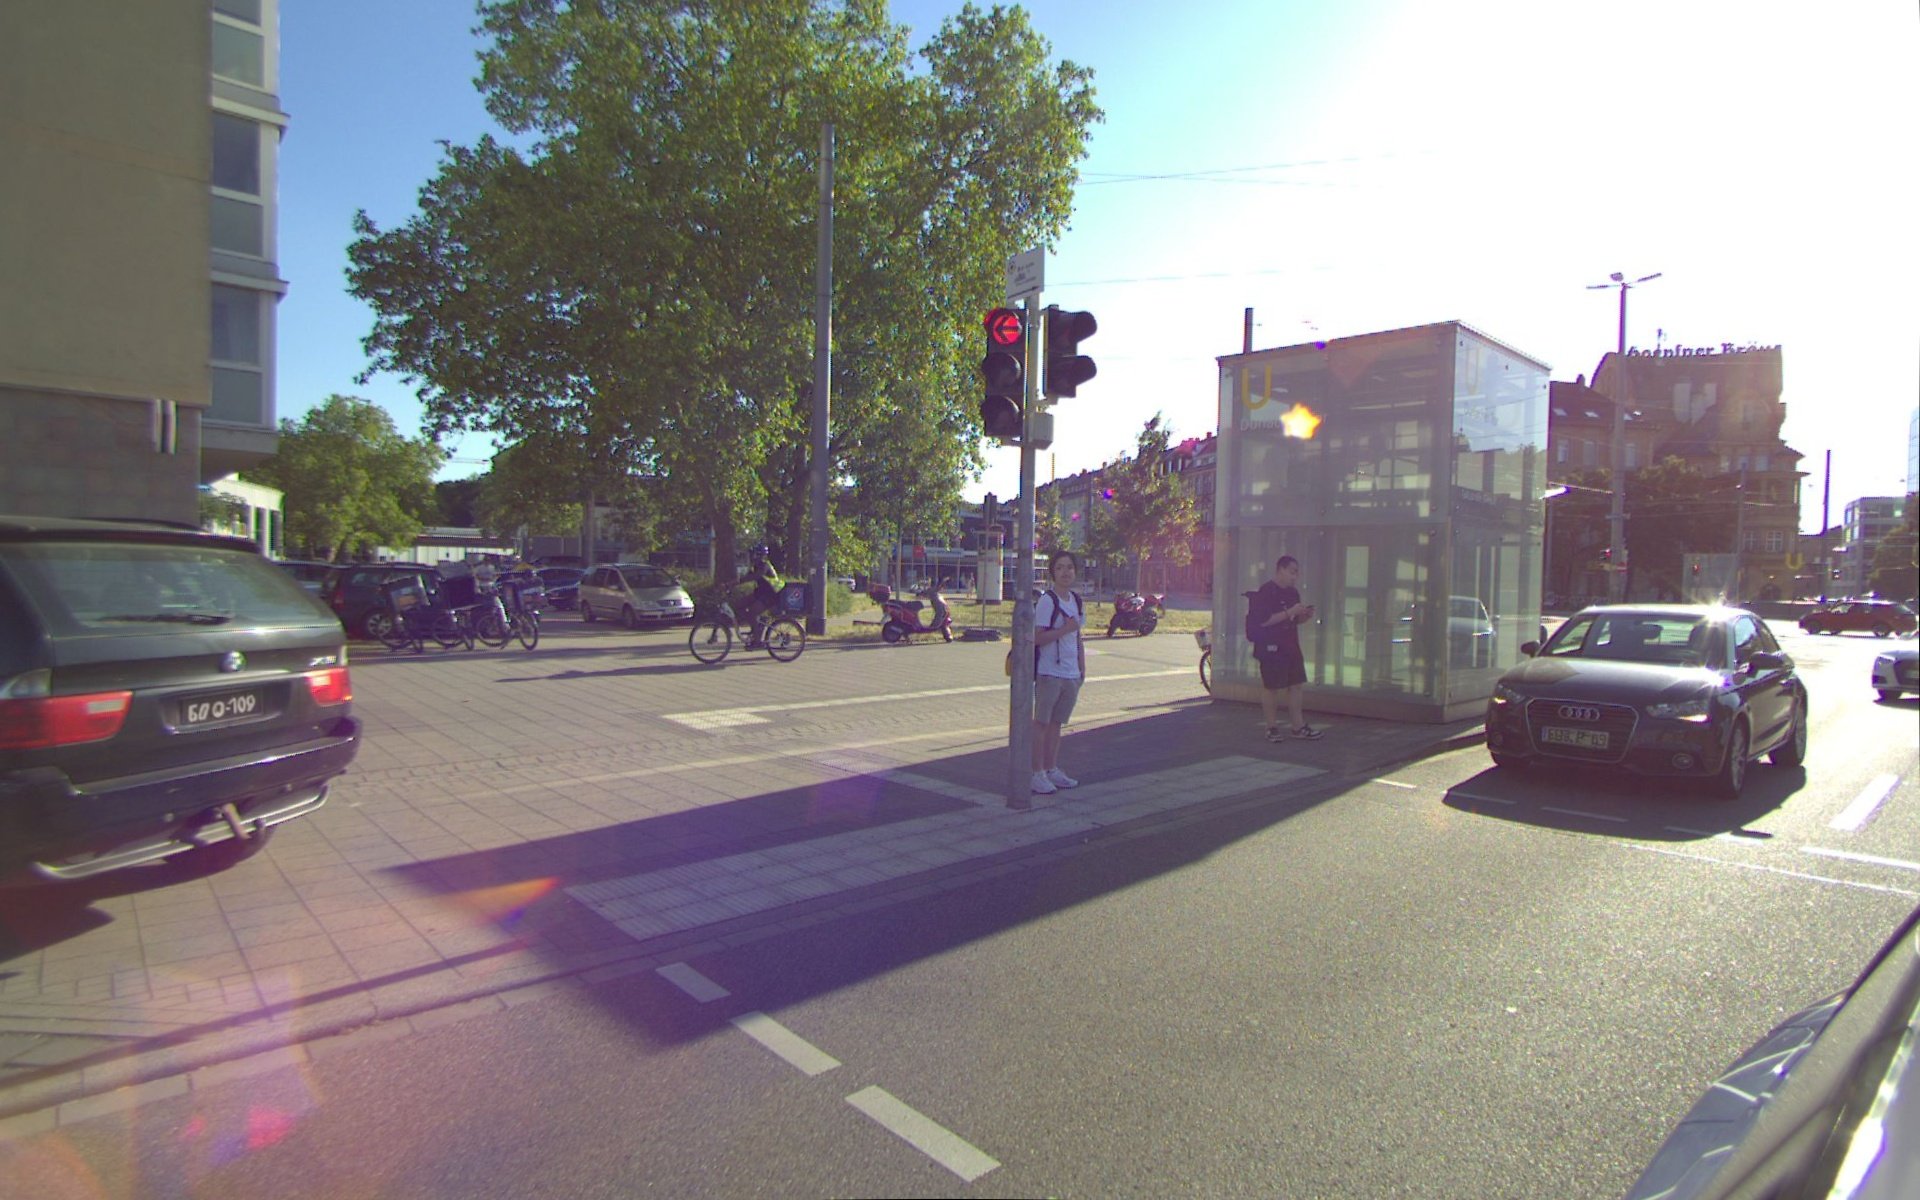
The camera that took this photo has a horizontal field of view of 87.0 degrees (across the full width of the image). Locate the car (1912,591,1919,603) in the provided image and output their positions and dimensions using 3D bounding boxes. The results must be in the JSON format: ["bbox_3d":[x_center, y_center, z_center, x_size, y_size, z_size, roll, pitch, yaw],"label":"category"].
[{"bbox_3d":[127.758,-0.421,134.029,1.745,1.482,3.968,2,0,35],"label":"car"}]

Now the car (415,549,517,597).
[{"bbox_3d":[-23.730,-1.293,48.667,3.933,2.024,1.853,3,1,-44],"label":"car"}]

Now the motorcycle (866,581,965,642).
[{"bbox_3d":[-0.852,0.191,19.625,1.775,1.059,0.879,-2,4,-45],"label":"motorcycle"}]

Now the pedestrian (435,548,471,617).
[{"bbox_3d":[-13.998,-0.488,27.936,0.739,1.889,0.831,0,2,-38],"label":"pedestrian"}]

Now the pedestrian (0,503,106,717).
[{"bbox_3d":[-8.702,0.069,9.465,0.743,1.889,0.827,2,1,18],"label":"pedestrian"}]

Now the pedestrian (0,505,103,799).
[{"bbox_3d":[-6.472,0.316,6.862,0.740,1.889,0.697,1,1,6],"label":"pedestrian"}]

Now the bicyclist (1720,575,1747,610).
[{"bbox_3d":[39.701,-0.398,51.963,0.971,1.716,0.756,4,2,42],"label":"bicyclist"}]

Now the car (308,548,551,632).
[{"bbox_3d":[-11.150,-0.183,21.452,1.852,1.501,4.158,4,1,45],"label":"car"}]

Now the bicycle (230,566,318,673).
[{"bbox_3d":[-9.224,0.218,13.577,0.649,1.263,1.896,-1,4,-45],"label":"bicycle"}]

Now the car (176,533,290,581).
[{"bbox_3d":[-32.633,-1.920,45.481,3.930,1.802,1.854,3,1,-42],"label":"car"}]

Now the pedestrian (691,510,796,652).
[{"bbox_3d":[-3.329,-0.284,15.508,1.244,2.038,1.036,4,0,-25],"label":"pedestrian"}]

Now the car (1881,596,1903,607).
[{"bbox_3d":[139.137,0.227,151.106,1.745,1.626,3.968,2,0,35],"label":"car"}]

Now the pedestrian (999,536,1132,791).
[{"bbox_3d":[0.783,0.421,7.439,0.693,1.749,0.745,2,1,32],"label":"pedestrian"}]

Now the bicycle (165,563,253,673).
[{"bbox_3d":[-9.742,0.192,13.101,0.649,1.263,1.896,-1,4,-45],"label":"bicycle"}]

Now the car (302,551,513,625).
[{"bbox_3d":[-12.779,-0.265,23.519,3.930,1.437,1.854,3,1,-42],"label":"car"}]

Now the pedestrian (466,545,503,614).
[{"bbox_3d":[-13.366,-0.588,28.435,0.739,1.889,0.831,0,2,-38],"label":"pedestrian"}]

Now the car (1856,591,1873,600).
[{"bbox_3d":[155.357,-0.755,173.834,1.745,1.482,3.968,2,0,35],"label":"car"}]

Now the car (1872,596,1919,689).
[{"bbox_3d":[16.644,0.693,16.008,4.365,1.406,1.829,1,-1,-26],"label":"car"}]

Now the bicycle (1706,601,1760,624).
[{"bbox_3d":[39.679,0.636,51.958,2.098,1.040,0.756,4,2,42],"label":"bicycle"}]

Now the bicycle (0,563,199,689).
[{"bbox_3d":[-9.485,0.247,10.999,0.658,1.263,1.870,4,4,44],"label":"bicycle"}]

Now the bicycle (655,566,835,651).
[{"bbox_3d":[-3.302,0.133,15.550,2.478,1.137,1.036,4,1,-25],"label":"bicycle"}]

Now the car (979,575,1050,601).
[{"bbox_3d":[3.494,-0.764,64.830,4.079,1.353,1.758,4,1,-21],"label":"car"}]

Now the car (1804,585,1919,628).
[{"bbox_3d":[38.415,0.219,42.636,1.720,1.481,4.029,-3,4,-21],"label":"car"}]

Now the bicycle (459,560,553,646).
[{"bbox_3d":[-7.984,0.023,17.763,1.992,1.361,0.803,4,4,43],"label":"bicycle"}]

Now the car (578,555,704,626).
[{"bbox_3d":[-8.960,-0.342,28.266,1.889,1.718,3.995,-3,5,-41],"label":"car"}]

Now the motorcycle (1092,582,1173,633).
[{"bbox_3d":[4.085,0.143,23.785,1.033,1.087,2.255,4,3,33],"label":"motorcycle"}]

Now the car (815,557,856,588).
[{"bbox_3d":[-9.030,-2.018,73.191,1.958,2.038,4.009,4,1,-21],"label":"car"}]

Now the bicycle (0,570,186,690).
[{"bbox_3d":[-10.051,0.302,11.551,0.658,1.263,1.870,4,4,44],"label":"bicycle"}]

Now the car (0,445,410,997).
[{"bbox_3d":[-5.071,0.373,4.607,4.178,1.837,1.957,0,1,7],"label":"car"}]

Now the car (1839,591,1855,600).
[{"bbox_3d":[164.315,-0.779,187.398,1.745,1.482,3.968,2,0,35],"label":"car"}]

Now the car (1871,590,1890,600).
[{"bbox_3d":[145.803,-0.839,160.302,1.745,1.482,3.968,2,0,35],"label":"car"}]

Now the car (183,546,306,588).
[{"bbox_3d":[-29.542,-1.346,41.846,3.930,1.437,1.854,3,1,-42],"label":"car"}]

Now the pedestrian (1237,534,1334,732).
[{"bbox_3d":[3.038,0.272,9.502,0.784,1.749,0.865,2,1,16],"label":"pedestrian"}]

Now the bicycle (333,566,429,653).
[{"bbox_3d":[-9.478,0.122,16.527,1.992,1.263,0.803,4,4,43],"label":"bicycle"}]

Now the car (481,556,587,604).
[{"bbox_3d":[-19.199,-0.872,45.647,3.933,1.891,1.853,3,1,-44],"label":"car"}]

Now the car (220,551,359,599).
[{"bbox_3d":[-24.193,-0.903,36.560,3.930,1.437,1.854,3,1,-42],"label":"car"}]

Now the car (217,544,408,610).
[{"bbox_3d":[-16.945,-0.595,26.575,3.930,1.437,1.854,3,1,-42],"label":"car"}]

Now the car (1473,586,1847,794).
[{"bbox_3d":[6.127,0.616,8.718,3.763,1.406,1.693,0,-1,-40],"label":"car"}]

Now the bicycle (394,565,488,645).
[{"bbox_3d":[-8.836,0.046,17.189,1.992,1.214,0.803,4,4,43],"label":"bicycle"}]
